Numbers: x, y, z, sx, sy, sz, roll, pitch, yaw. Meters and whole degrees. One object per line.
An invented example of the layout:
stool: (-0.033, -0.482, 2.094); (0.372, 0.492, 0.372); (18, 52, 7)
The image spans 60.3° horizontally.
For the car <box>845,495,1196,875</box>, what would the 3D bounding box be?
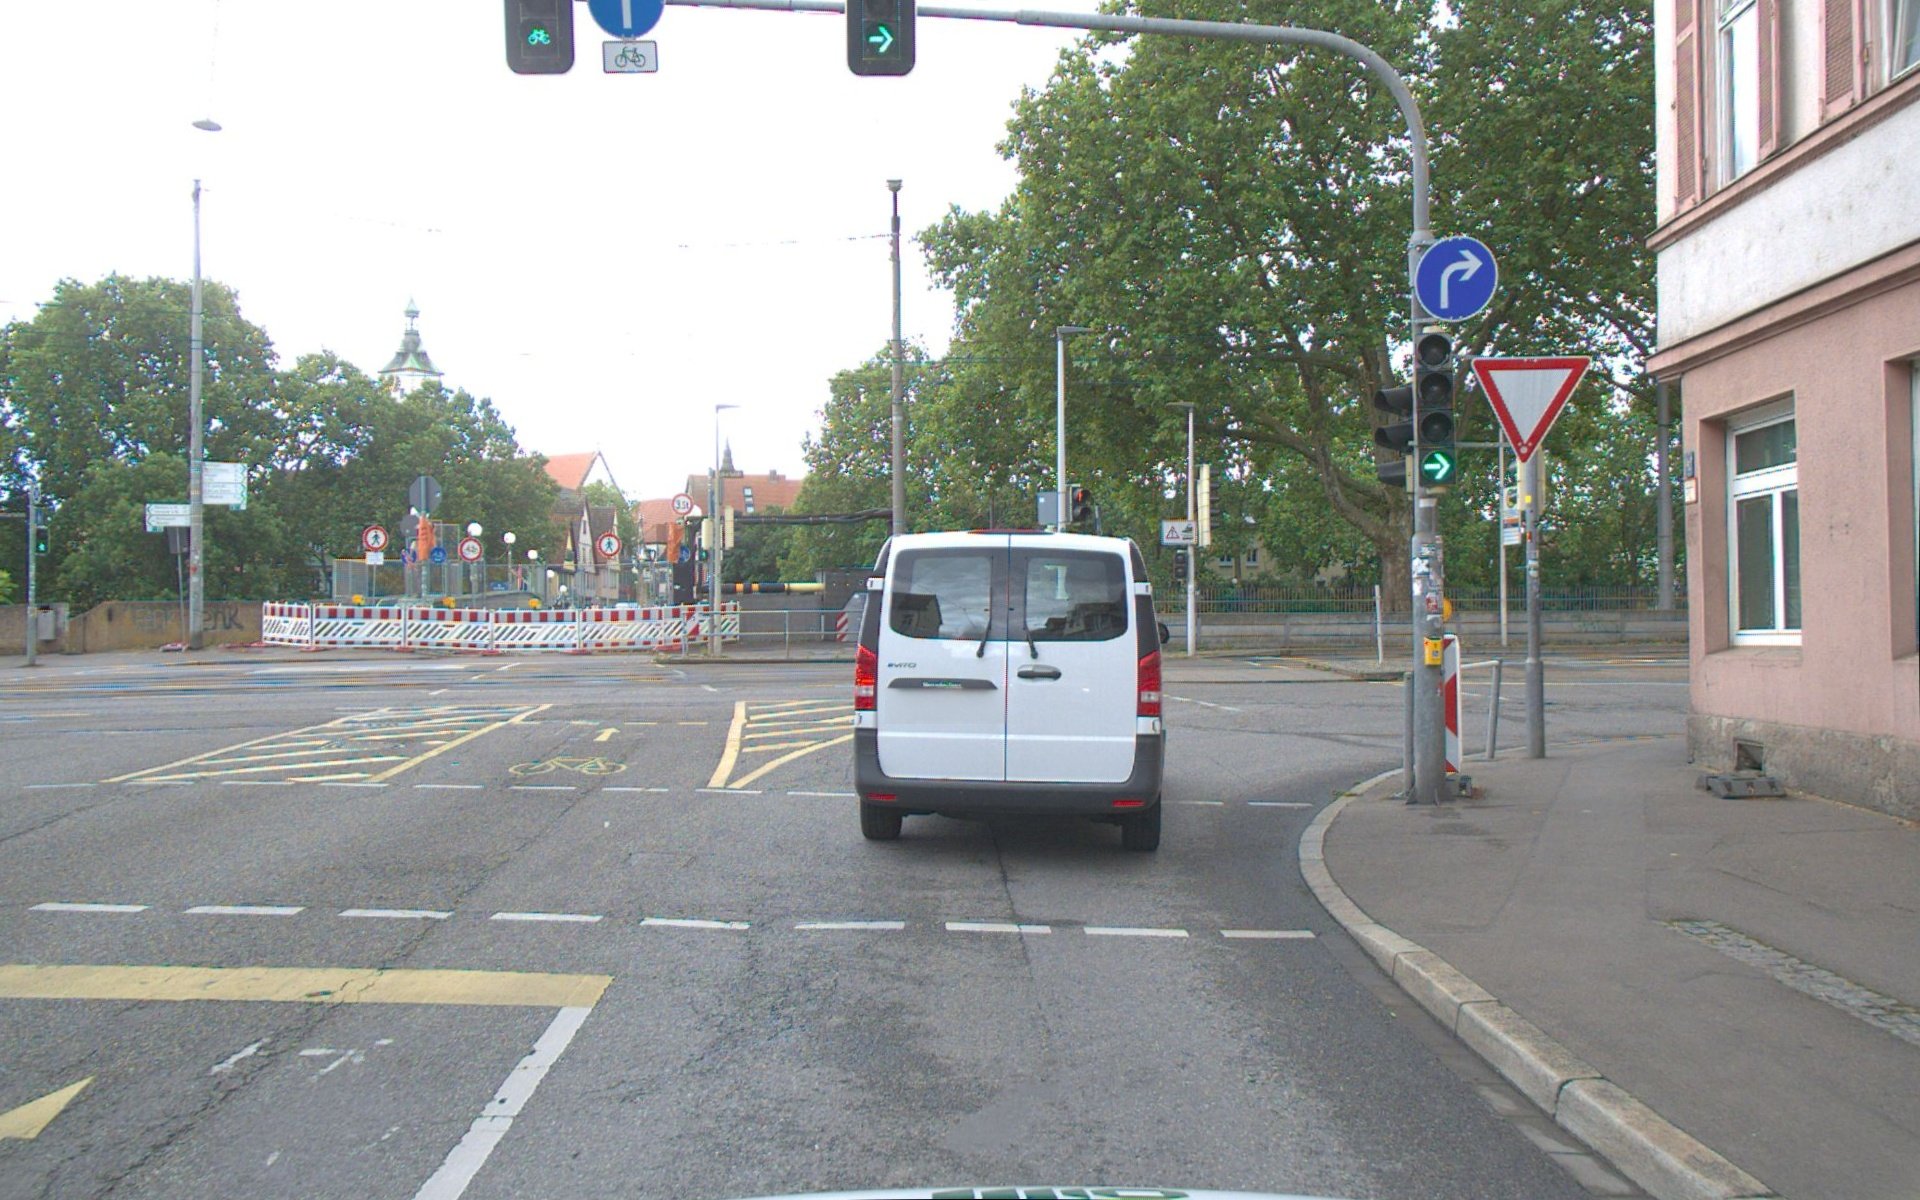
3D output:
car: (0.577, 0.442, 11.401); (1.909, 2.049, 4.701); (1, 0, 6)
